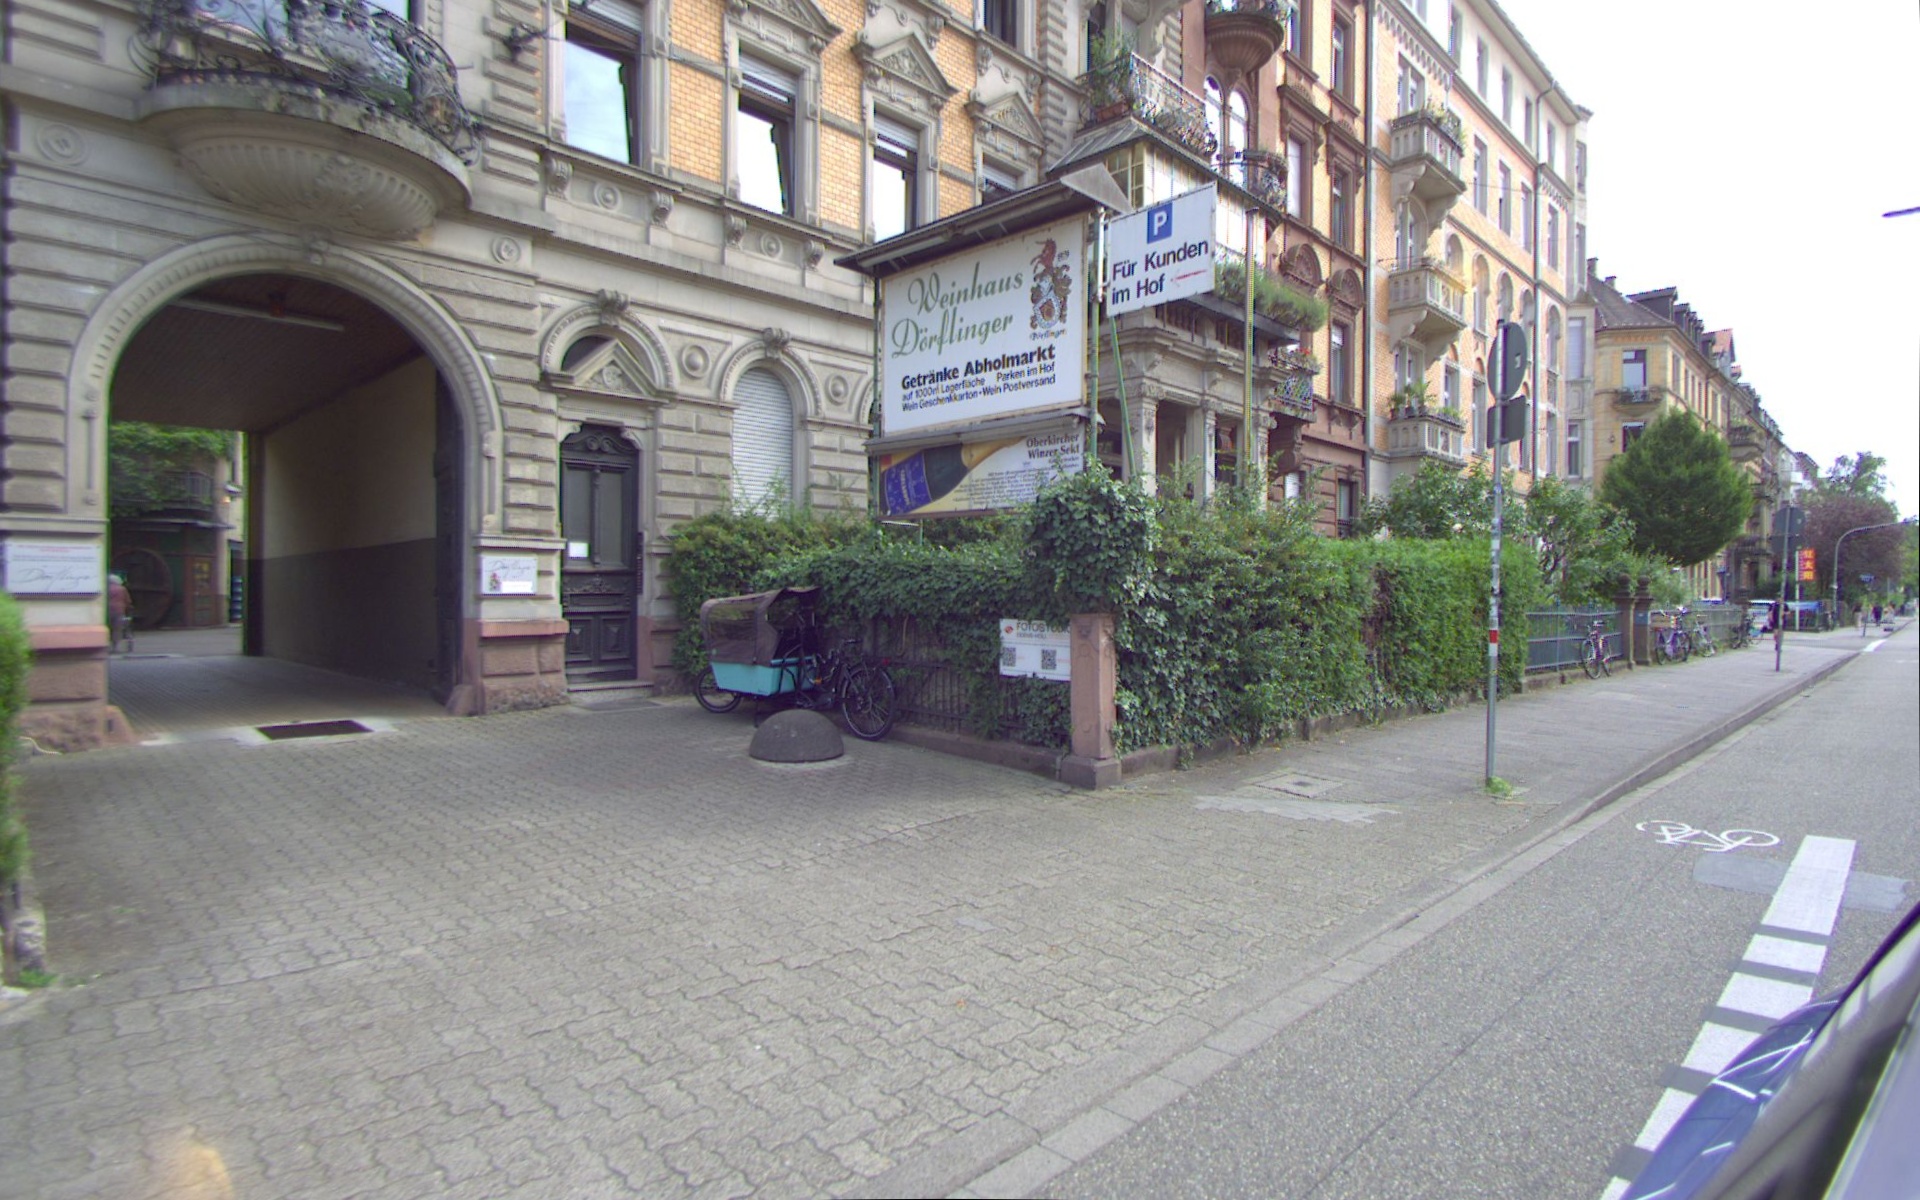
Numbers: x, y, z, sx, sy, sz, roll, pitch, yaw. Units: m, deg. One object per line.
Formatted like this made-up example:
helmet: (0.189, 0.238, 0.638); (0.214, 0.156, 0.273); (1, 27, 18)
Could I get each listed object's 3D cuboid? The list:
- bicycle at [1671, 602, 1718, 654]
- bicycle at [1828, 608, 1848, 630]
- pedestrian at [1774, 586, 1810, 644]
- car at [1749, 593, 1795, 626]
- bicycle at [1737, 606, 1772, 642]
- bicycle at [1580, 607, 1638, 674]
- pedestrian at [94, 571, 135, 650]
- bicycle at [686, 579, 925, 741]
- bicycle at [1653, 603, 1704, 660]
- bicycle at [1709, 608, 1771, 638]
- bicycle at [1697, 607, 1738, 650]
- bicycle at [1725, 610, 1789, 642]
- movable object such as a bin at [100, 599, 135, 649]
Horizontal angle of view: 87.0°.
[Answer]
bicycle: (16.873, 0.622, 23.232); (0.579, 1.125, 1.645); (6, 4, 44)
bicycle: (46.024, 0.999, 53.047); (1.843, 1.127, 0.629); (0, 0, -44)
pedestrian: (24.078, 0.435, 29.297); (0.822, 1.644, 0.731); (1, 0, -45)
car: (40.541, 0.449, 50.505); (1.749, 1.544, 3.943); (1, 1, 39)
bicycle: (23.470, 0.691, 29.889); (0.579, 0.994, 1.645); (6, 4, 44)
bicycle: (11.693, 0.699, 18.215); (0.579, 1.126, 1.645); (1, 0, 44)
pedestrian: (-16.583, 0.198, 19.867); (0.555, 1.506, 0.595); (0, 0, -35)
bicycle: (-1.518, 0.472, 9.462); (2.623, 1.328, 0.758); (1, 0, 44)
bicycle: (15.516, 0.660, 21.843); (0.579, 1.125, 1.645); (6, 4, 44)
bicycle: (30.932, 0.906, 40.178); (0.522, 1.142, 1.896); (1, 0, -28)
bicycle: (19.340, 0.713, 25.824); (0.579, 0.994, 1.645); (6, 4, 44)
bicycle: (29.325, 0.948, 37.249); (1.838, 1.127, 0.631); (1, 0, -1)
movable object such as a bin: (-16.817, 0.472, 20.209); (0.488, 0.966, 0.527); (0, 0, -35)
